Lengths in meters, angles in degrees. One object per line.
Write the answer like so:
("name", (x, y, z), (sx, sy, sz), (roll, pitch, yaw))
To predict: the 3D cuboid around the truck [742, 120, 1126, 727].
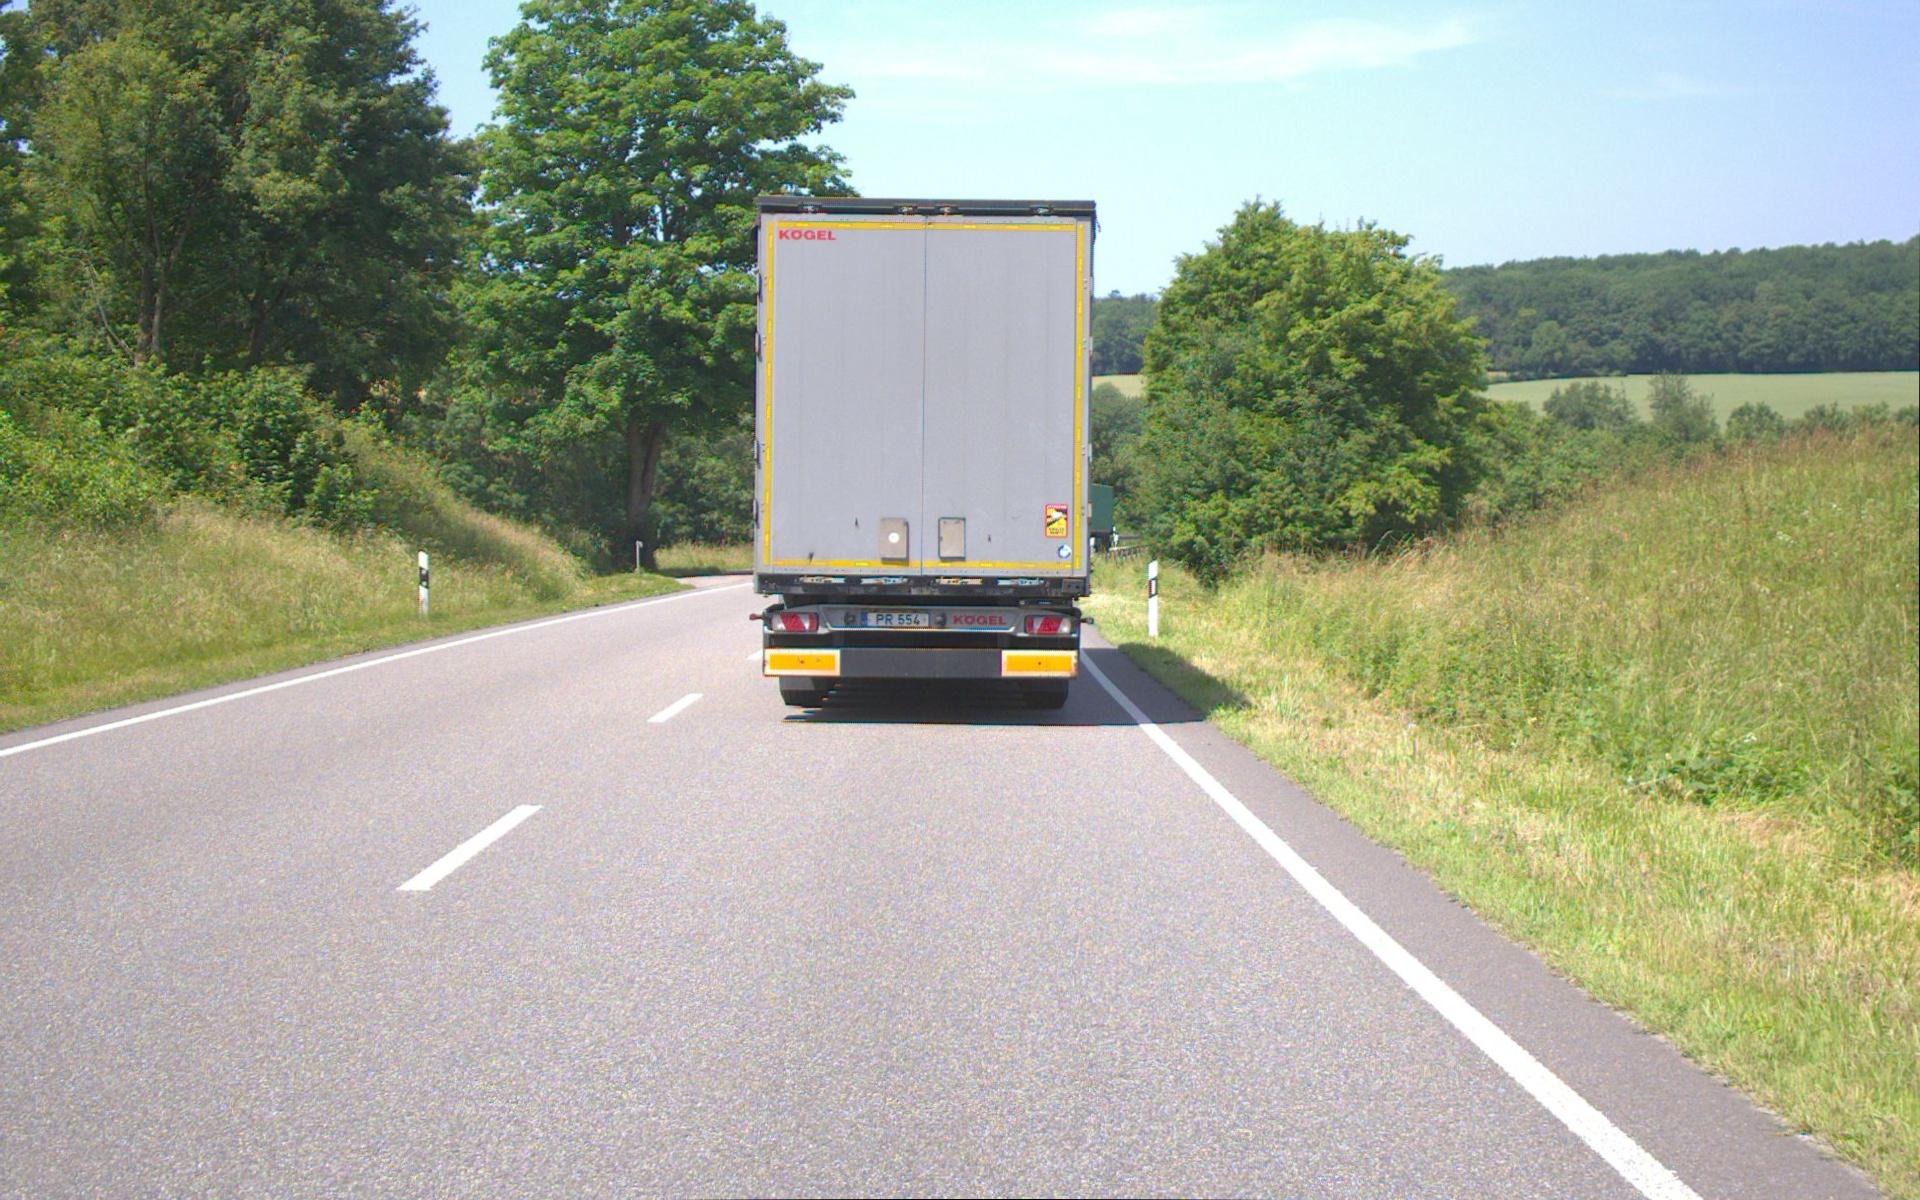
("truck", (-0.250, -1.466, 31.659), (2.817, 4.517, 11.769), (1, 1, -1))
